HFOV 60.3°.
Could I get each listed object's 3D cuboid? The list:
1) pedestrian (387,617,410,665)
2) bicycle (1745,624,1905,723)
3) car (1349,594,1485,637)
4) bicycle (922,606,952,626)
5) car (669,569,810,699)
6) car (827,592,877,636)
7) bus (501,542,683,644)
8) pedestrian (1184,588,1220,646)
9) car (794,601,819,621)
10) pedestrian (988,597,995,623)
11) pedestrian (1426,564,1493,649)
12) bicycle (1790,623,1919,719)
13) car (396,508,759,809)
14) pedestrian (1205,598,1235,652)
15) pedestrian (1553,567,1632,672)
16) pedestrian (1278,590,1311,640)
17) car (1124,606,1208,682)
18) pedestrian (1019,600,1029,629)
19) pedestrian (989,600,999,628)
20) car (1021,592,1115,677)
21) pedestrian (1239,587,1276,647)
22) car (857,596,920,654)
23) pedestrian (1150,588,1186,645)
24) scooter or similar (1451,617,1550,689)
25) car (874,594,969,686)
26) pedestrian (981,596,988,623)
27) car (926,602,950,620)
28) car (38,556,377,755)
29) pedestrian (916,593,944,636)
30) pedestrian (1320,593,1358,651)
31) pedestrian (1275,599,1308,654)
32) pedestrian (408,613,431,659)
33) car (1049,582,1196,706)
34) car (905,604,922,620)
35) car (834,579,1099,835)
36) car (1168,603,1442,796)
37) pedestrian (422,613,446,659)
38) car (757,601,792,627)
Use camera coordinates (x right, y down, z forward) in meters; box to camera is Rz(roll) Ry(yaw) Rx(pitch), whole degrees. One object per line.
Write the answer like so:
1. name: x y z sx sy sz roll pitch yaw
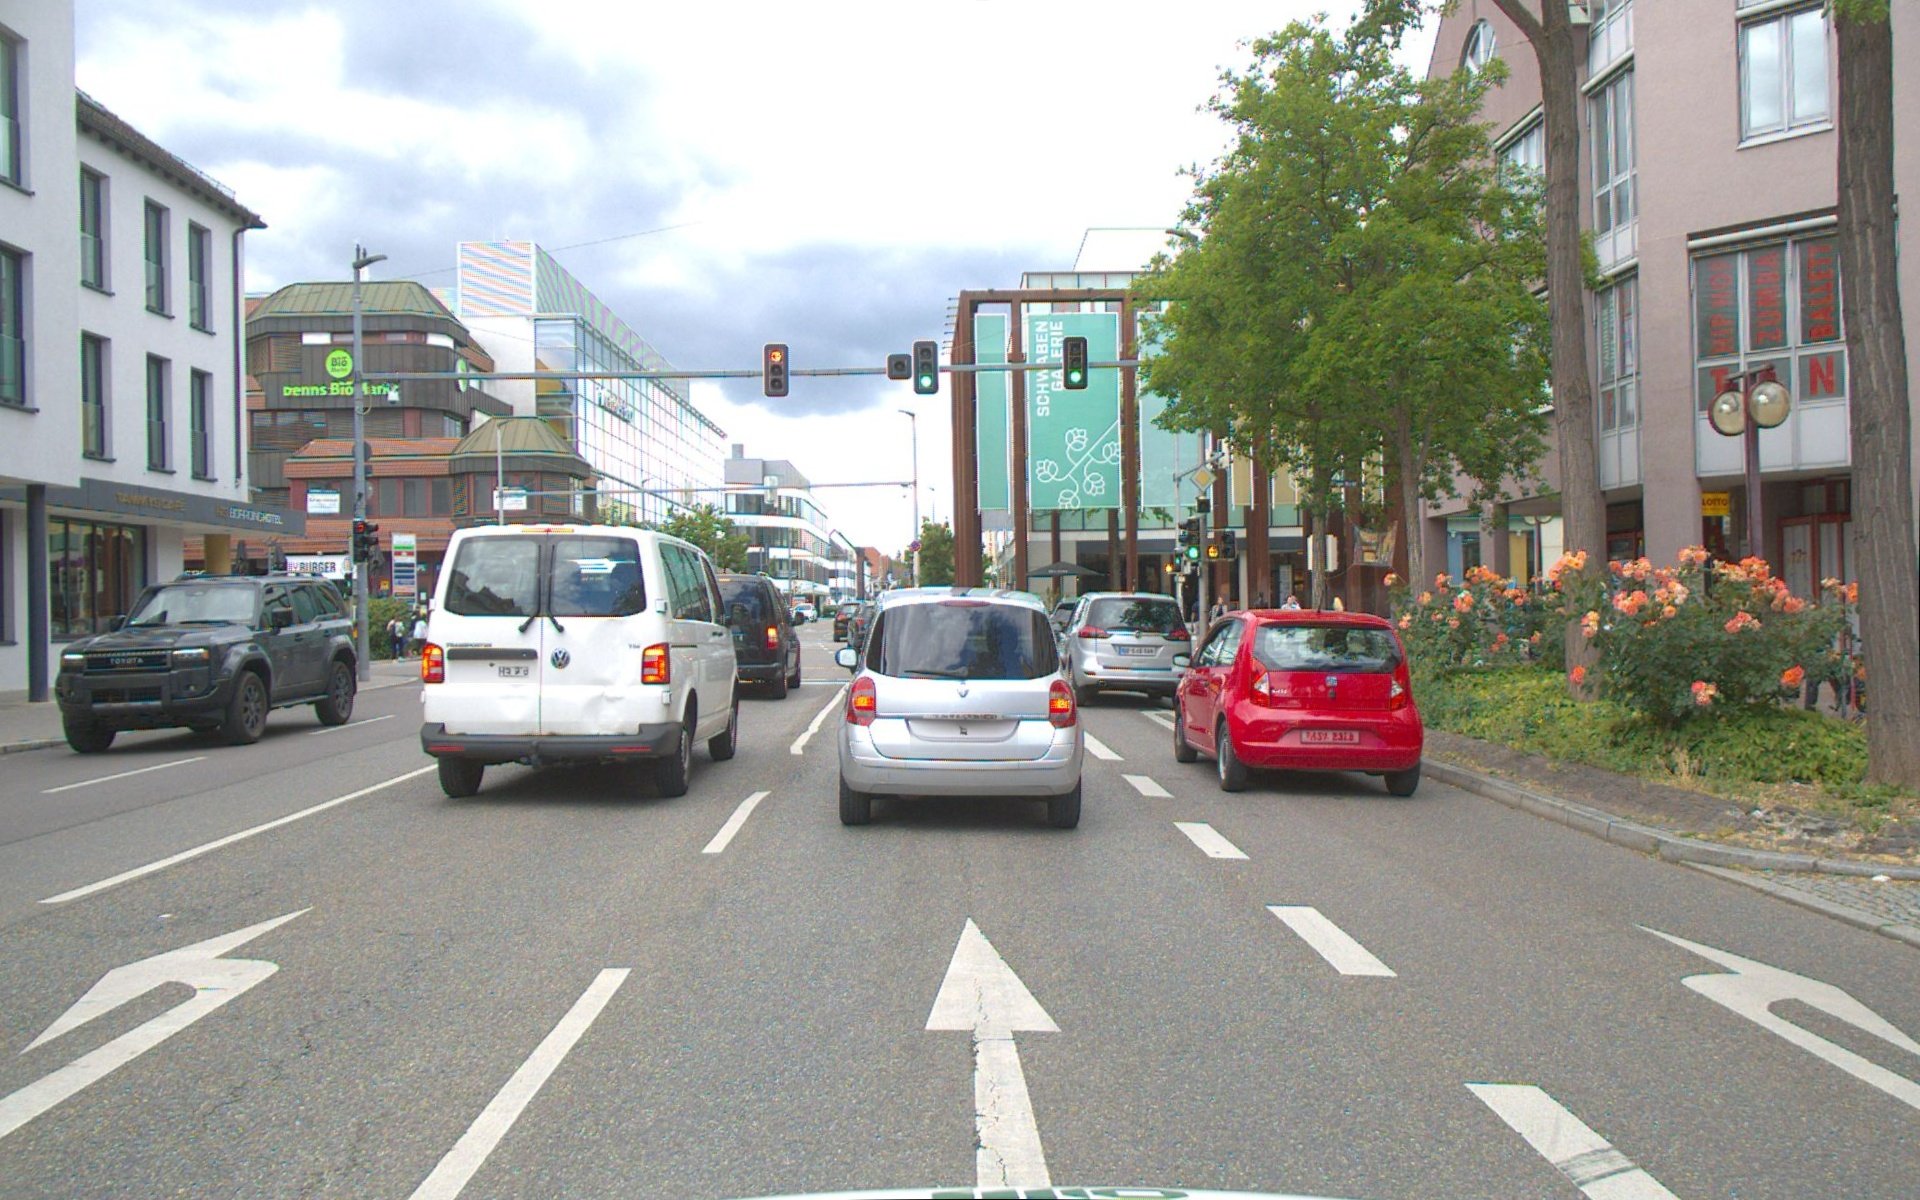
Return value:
1. pedestrian: -19.360 1.406 57.027 0.625 1.616 0.526 -1 0 0
2. bicycle: 9.781 0.815 18.731 1.540 1.067 0.404 -1 0 41
3. car: 15.421 0.502 55.884 4.090 1.429 1.799 0 0 -4
4. bicycle: -1.203 0.852 86.532 1.528 1.010 0.752 -1 0 2
5. car: -3.420 0.498 26.381 1.673 1.852 4.570 1 0 -1
6. car: -3.901 0.499 60.091 1.636 1.521 3.641 1 0 -1
7. bus: -13.863 -0.306 63.785 2.924 3.385 12.315 -3 0 6
8. pedestrian: 7.359 0.516 50.313 0.861 1.711 1.119 -1 0 -4
9. car: -12.139 0.835 130.905 1.626 1.491 3.999 -2 0 -1
10. pedestrian: 1.908 0.589 100.253 0.418 1.576 0.481 -1 0 -3
11. pedestrian: 10.521 0.135 34.893 1.034 1.745 1.109 0 0 -2
12. bicycle: 10.415 0.803 18.965 1.540 1.067 0.404 -1 0 41
13. car: -2.928 0.406 13.815 1.953 2.049 4.839 1 0 -1
14. pedestrian: 8.227 0.777 52.326 0.727 1.654 0.953 -1 0 -5
15. pedestrian: 10.304 0.308 26.978 0.792 1.654 1.093 -1 0 -4
16. pedestrian: 10.976 0.491 54.320 0.805 1.623 1.038 0 0 -3
17. car: 4.884 0.983 38.996 1.812 1.637 4.865 1 0 8
18. pedestrian: 2.817 0.641 73.080 0.438 1.241 0.607 -1 0 3
19. pedestrian: 1.517 0.619 73.125 0.438 1.241 0.606 -1 0 1
20. car: 2.324 0.710 36.565 1.704 1.730 4.380 1 0 -1
21. pedestrian: 9.102 0.526 50.622 0.861 1.798 1.119 -1 0 -4
22. car: -1.972 0.676 46.483 1.636 1.521 3.641 1 0 -1
23. pedestrian: 6.293 0.497 50.153 0.861 1.711 1.119 -1 0 -4
24. scooter or similar: 8.620 0.833 26.447 0.462 1.106 1.878 -1 -1 -18
25. car: -0.701 0.696 30.650 1.636 1.581 3.641 1 0 -1
26. pedestrian: 1.488 0.578 100.271 0.418 1.576 0.481 -1 0 -3
27. car: -1.711 0.824 130.650 1.839 1.358 3.999 1 0 -1
28. car: -8.668 0.576 19.601 1.884 2.003 4.768 -2 0 -2
29. pedestrian: -1.174 0.576 65.014 0.854 1.675 0.678 -1 0 33
30. pedestrian: 11.885 0.677 51.871 0.861 1.798 1.119 -1 0 -4
31. pedestrian: 10.260 0.821 51.196 0.727 1.654 0.953 -1 0 -5
32. pedestrian: -19.308 1.272 59.077 0.625 1.616 0.526 -1 0 0
33. car: 2.428 0.628 25.667 1.704 1.730 4.379 1 0 -2
34. car: -4.820 1.232 170.320 1.626 1.491 3.999 -2 0 -1
35. car: 0.012 0.676 12.229 1.636 1.581 3.641 1 0 -1
36. car: 2.915 0.778 14.692 1.593 1.473 3.641 1 0 -1
37. pedestrian: -18.612 1.280 58.544 0.625 1.616 0.656 -1 0 0
38. car: -11.275 0.841 100.718 1.709 1.484 4.234 -2 0 -1
